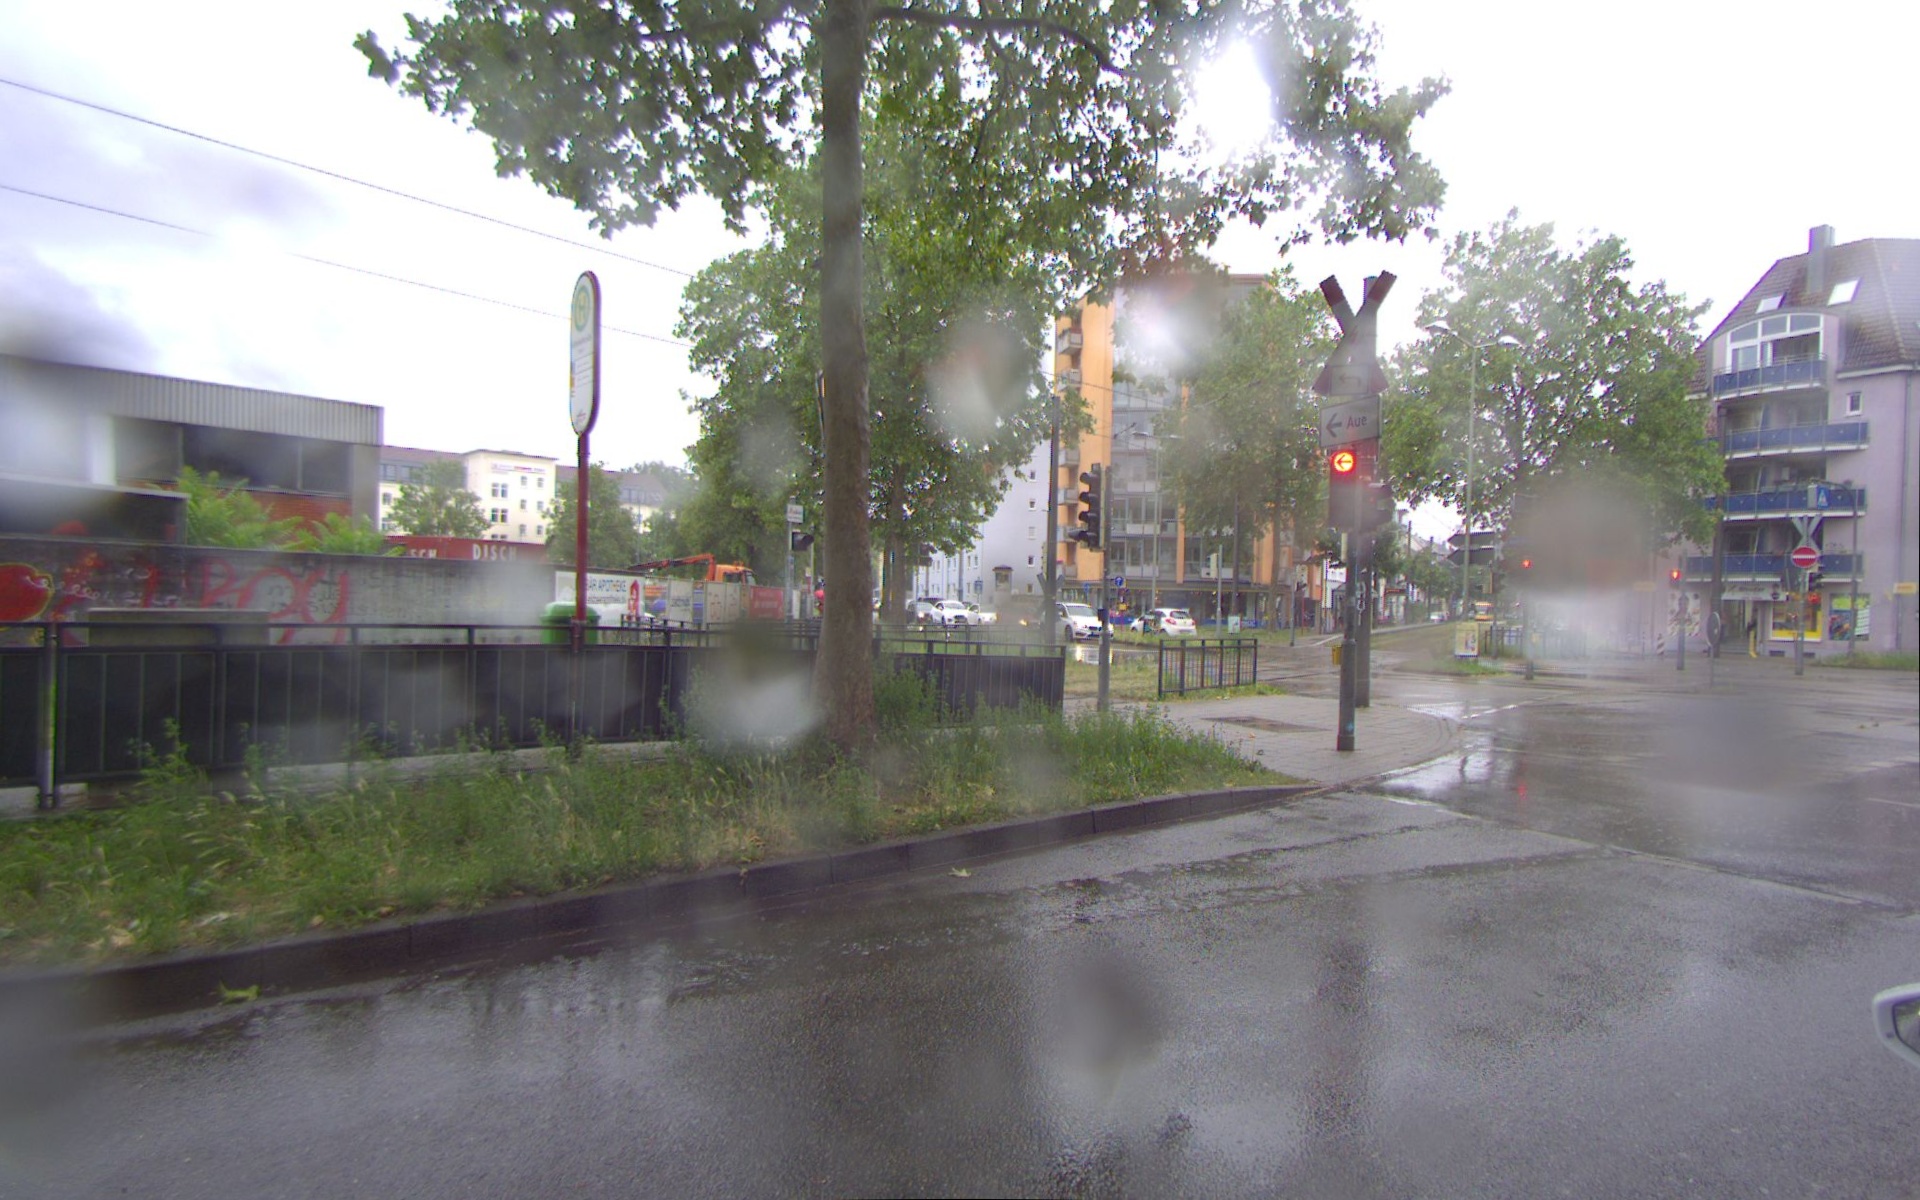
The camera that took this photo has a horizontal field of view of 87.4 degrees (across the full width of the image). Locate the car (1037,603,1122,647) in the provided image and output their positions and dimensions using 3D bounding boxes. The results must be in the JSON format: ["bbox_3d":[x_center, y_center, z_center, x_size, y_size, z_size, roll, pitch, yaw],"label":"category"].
[{"bbox_3d":[4.731,0.990,40.342,1.941,1.673,4.004,1,-1,-17],"label":"car"}]

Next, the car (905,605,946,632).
[{"bbox_3d":[-2.254,1.184,64.474,1.697,1.661,3.780,1,-1,-17],"label":"car"}]

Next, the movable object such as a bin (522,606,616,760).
[{"bbox_3d":[-2.938,0.605,7.557,0.412,1.104,0.528,0,-1,44],"label":"movable object such as a bin"}]

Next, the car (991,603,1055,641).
[{"bbox_3d":[2.844,1.001,46.212,1.697,1.661,3.780,1,-1,-17],"label":"car"}]

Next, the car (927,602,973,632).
[{"bbox_3d":[-0.615,0.990,58.332,1.697,1.661,3.780,1,-1,-17],"label":"car"}]

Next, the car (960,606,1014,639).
[{"bbox_3d":[1.395,1.158,52.501,1.697,1.661,3.780,1,-1,-17],"label":"car"}]

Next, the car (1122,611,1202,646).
[{"bbox_3d":[8.987,1.249,44.865,1.701,1.505,3.630,1,-1,-25],"label":"car"}]
